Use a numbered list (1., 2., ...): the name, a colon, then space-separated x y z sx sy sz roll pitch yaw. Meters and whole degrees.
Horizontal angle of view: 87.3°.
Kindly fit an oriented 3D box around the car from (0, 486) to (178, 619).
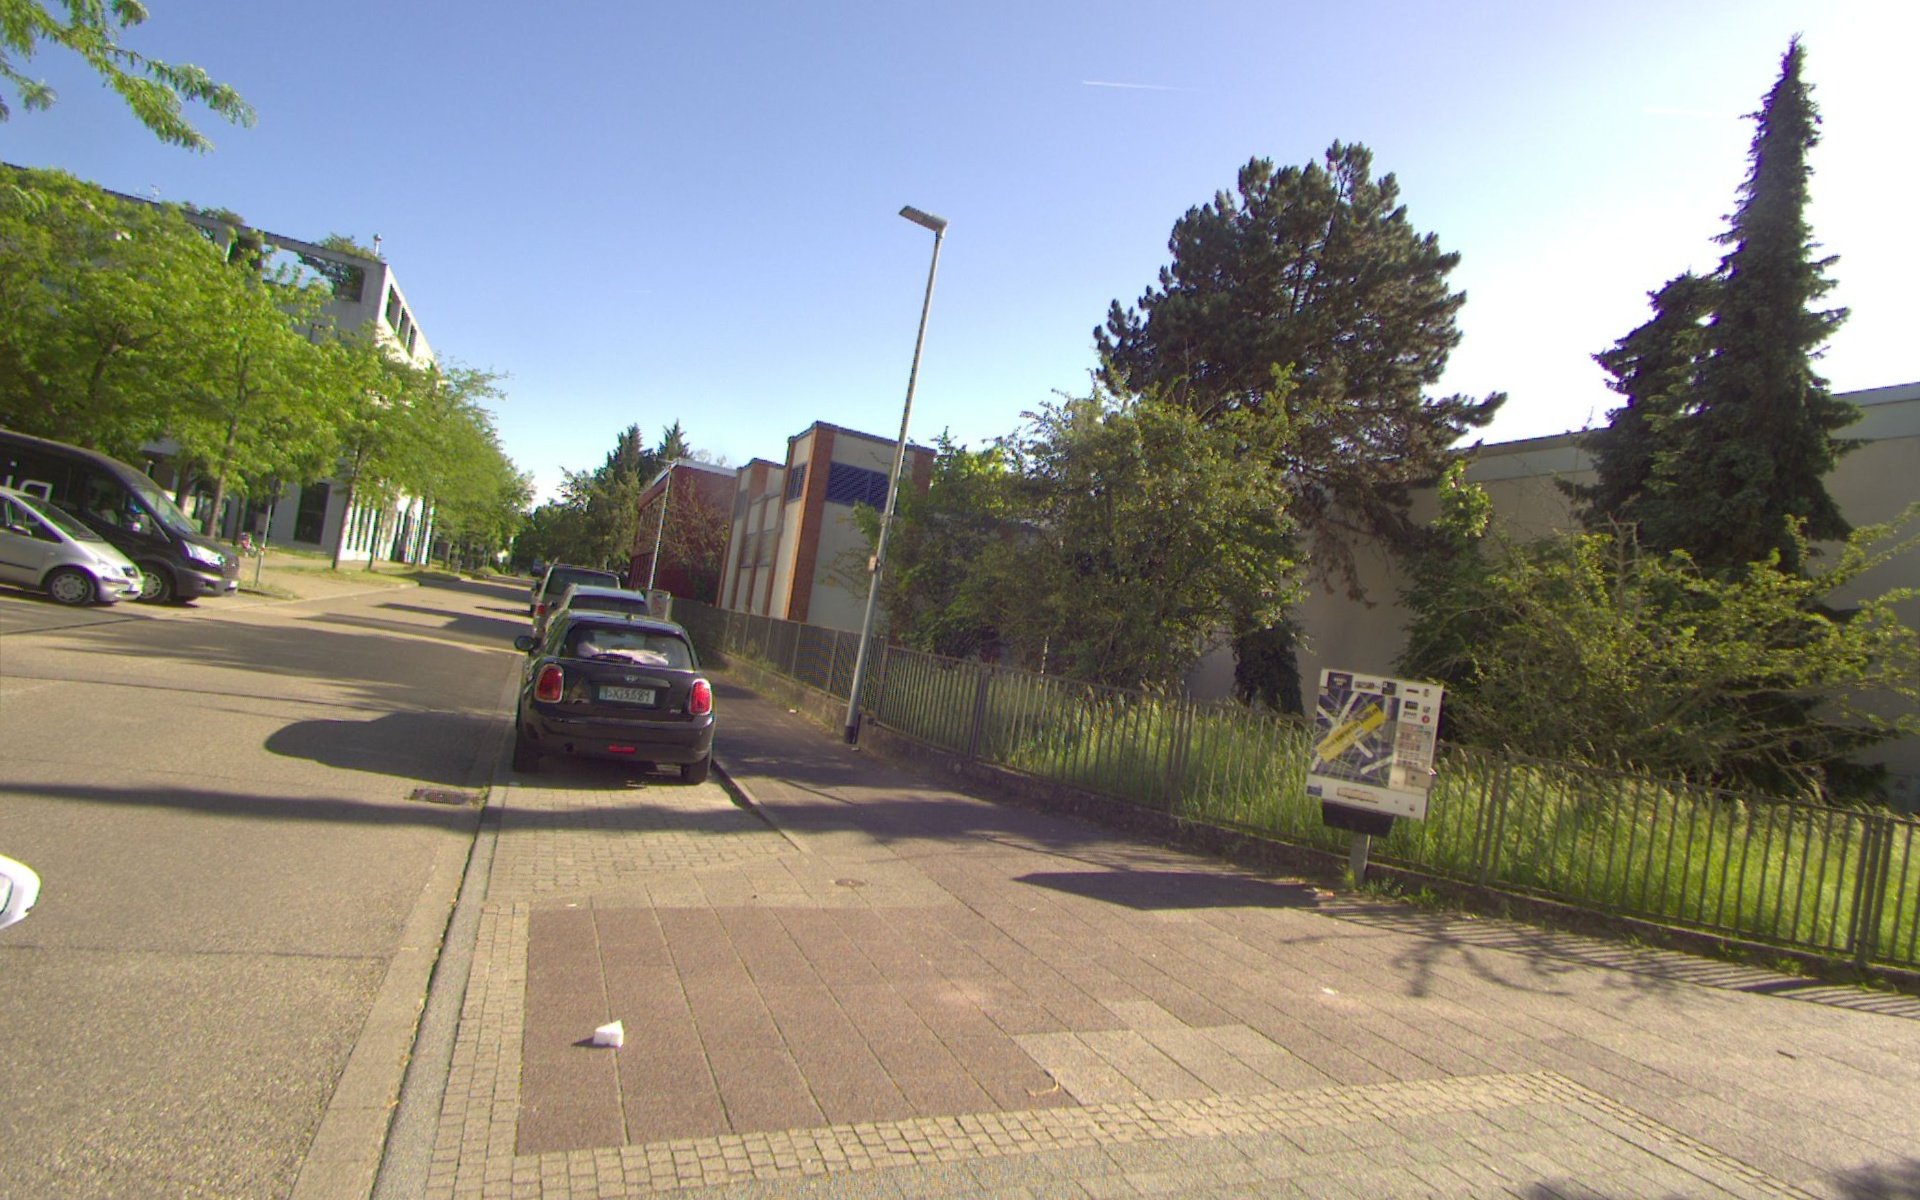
1. car: -15.007 -0.923 15.759 3.802 1.662 1.881 13 -3 -24

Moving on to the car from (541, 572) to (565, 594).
1. car: -39.579 -1.695 97.983 1.973 1.857 3.980 6 -1 -22

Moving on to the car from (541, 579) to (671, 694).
1. car: -6.532 0.571 18.263 1.808 1.648 4.272 8 -2 -23

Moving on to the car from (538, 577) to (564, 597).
1. car: -37.564 -1.200 92.543 1.975 1.457 3.982 10 -3 -22

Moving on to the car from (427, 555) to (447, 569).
1. car: -65.492 -4.775 125.964 1.890 1.357 3.770 10 -2 -25

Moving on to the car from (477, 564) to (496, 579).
1. car: -60.228 -3.644 128.020 1.977 1.474 3.771 10 -3 -25

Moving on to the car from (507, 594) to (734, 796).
1. car: -3.538 0.820 10.144 1.636 1.489 3.745 8 -2 -23

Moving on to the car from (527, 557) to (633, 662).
1. car: -9.165 0.193 24.119 1.925 2.045 4.802 8 -2 -23

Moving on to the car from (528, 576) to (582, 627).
1. car: -15.543 0.024 38.673 1.644 1.578 3.915 10 -2 -21

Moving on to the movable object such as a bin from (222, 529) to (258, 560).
1. movable object such as a bin: -30.792 -2.369 43.066 0.657 1.195 1.926 9 -2 -22

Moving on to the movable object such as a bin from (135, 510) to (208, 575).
1. movable object such as a bin: -20.583 -1.506 26.252 1.289 1.429 1.214 11 -2 -40

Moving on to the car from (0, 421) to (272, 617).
1. car: -16.063 -1.562 18.069 5.411 2.649 2.220 13 -3 -24
